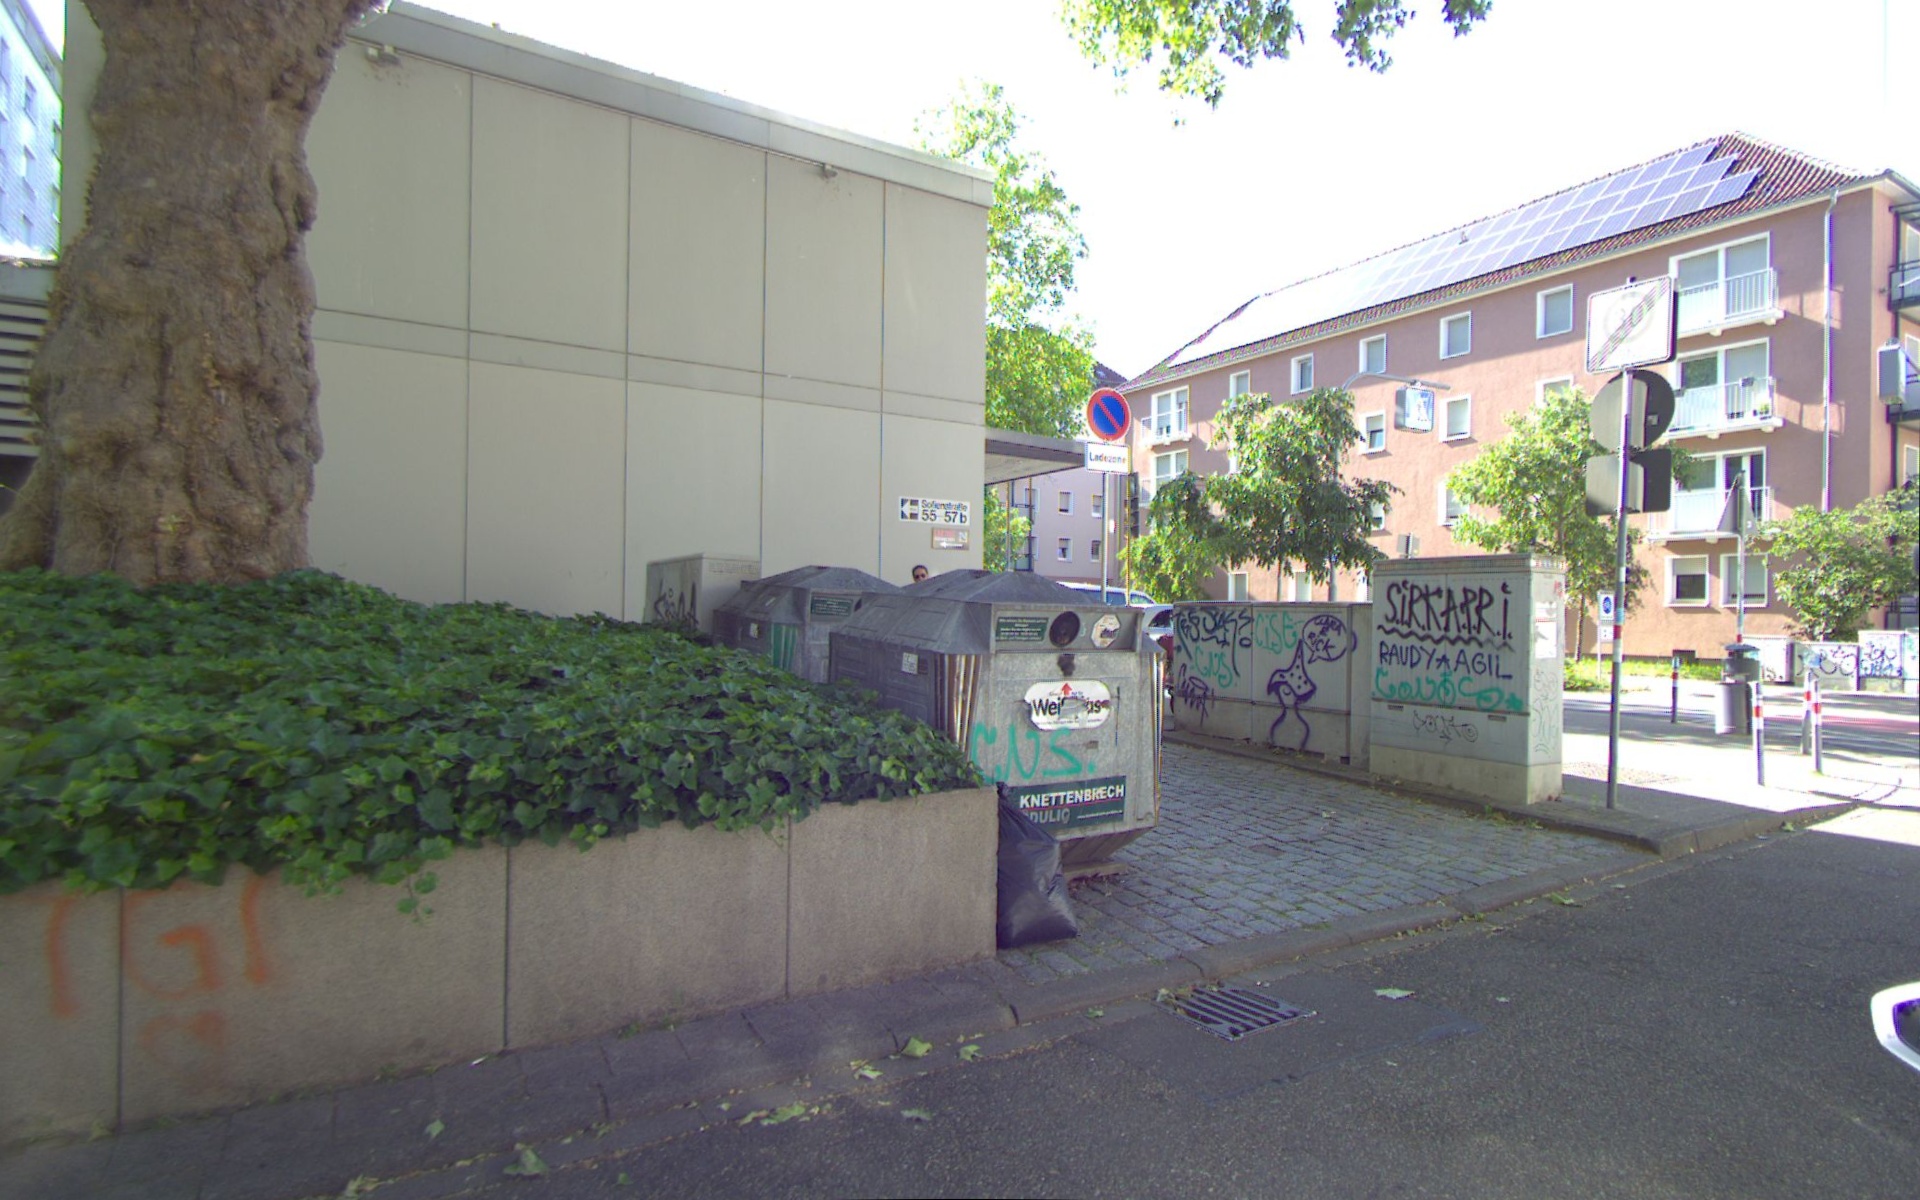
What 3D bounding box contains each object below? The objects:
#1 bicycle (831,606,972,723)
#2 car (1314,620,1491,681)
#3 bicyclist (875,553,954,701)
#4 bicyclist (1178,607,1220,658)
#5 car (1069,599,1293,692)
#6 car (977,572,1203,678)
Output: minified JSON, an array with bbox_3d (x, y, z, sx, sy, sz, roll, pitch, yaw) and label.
[{"bbox_3d":[-0.618,0.666,11.260,0.790,1.168,1.715,2,1,27],"label":"bicycle"},{"bbox_3d":[11.771,1.297,26.966,1.726,1.473,4.121,1,-1,-31],"label":"car"},{"bbox_3d":[-0.512,0.297,11.332,0.692,1.605,0.533,1,0,26],"label":"bicyclist"},{"bbox_3d":[7.352,1.007,30.948,0.730,1.539,1.037,1,-1,-30],"label":"bicyclist"},{"bbox_3d":[4.339,0.845,19.492,4.256,1.634,1.743,1,-1,-32],"label":"car"},{"bbox_3d":[2.861,0.595,21.680,4.695,2.032,1.942,3,-2,-33],"label":"car"}]
